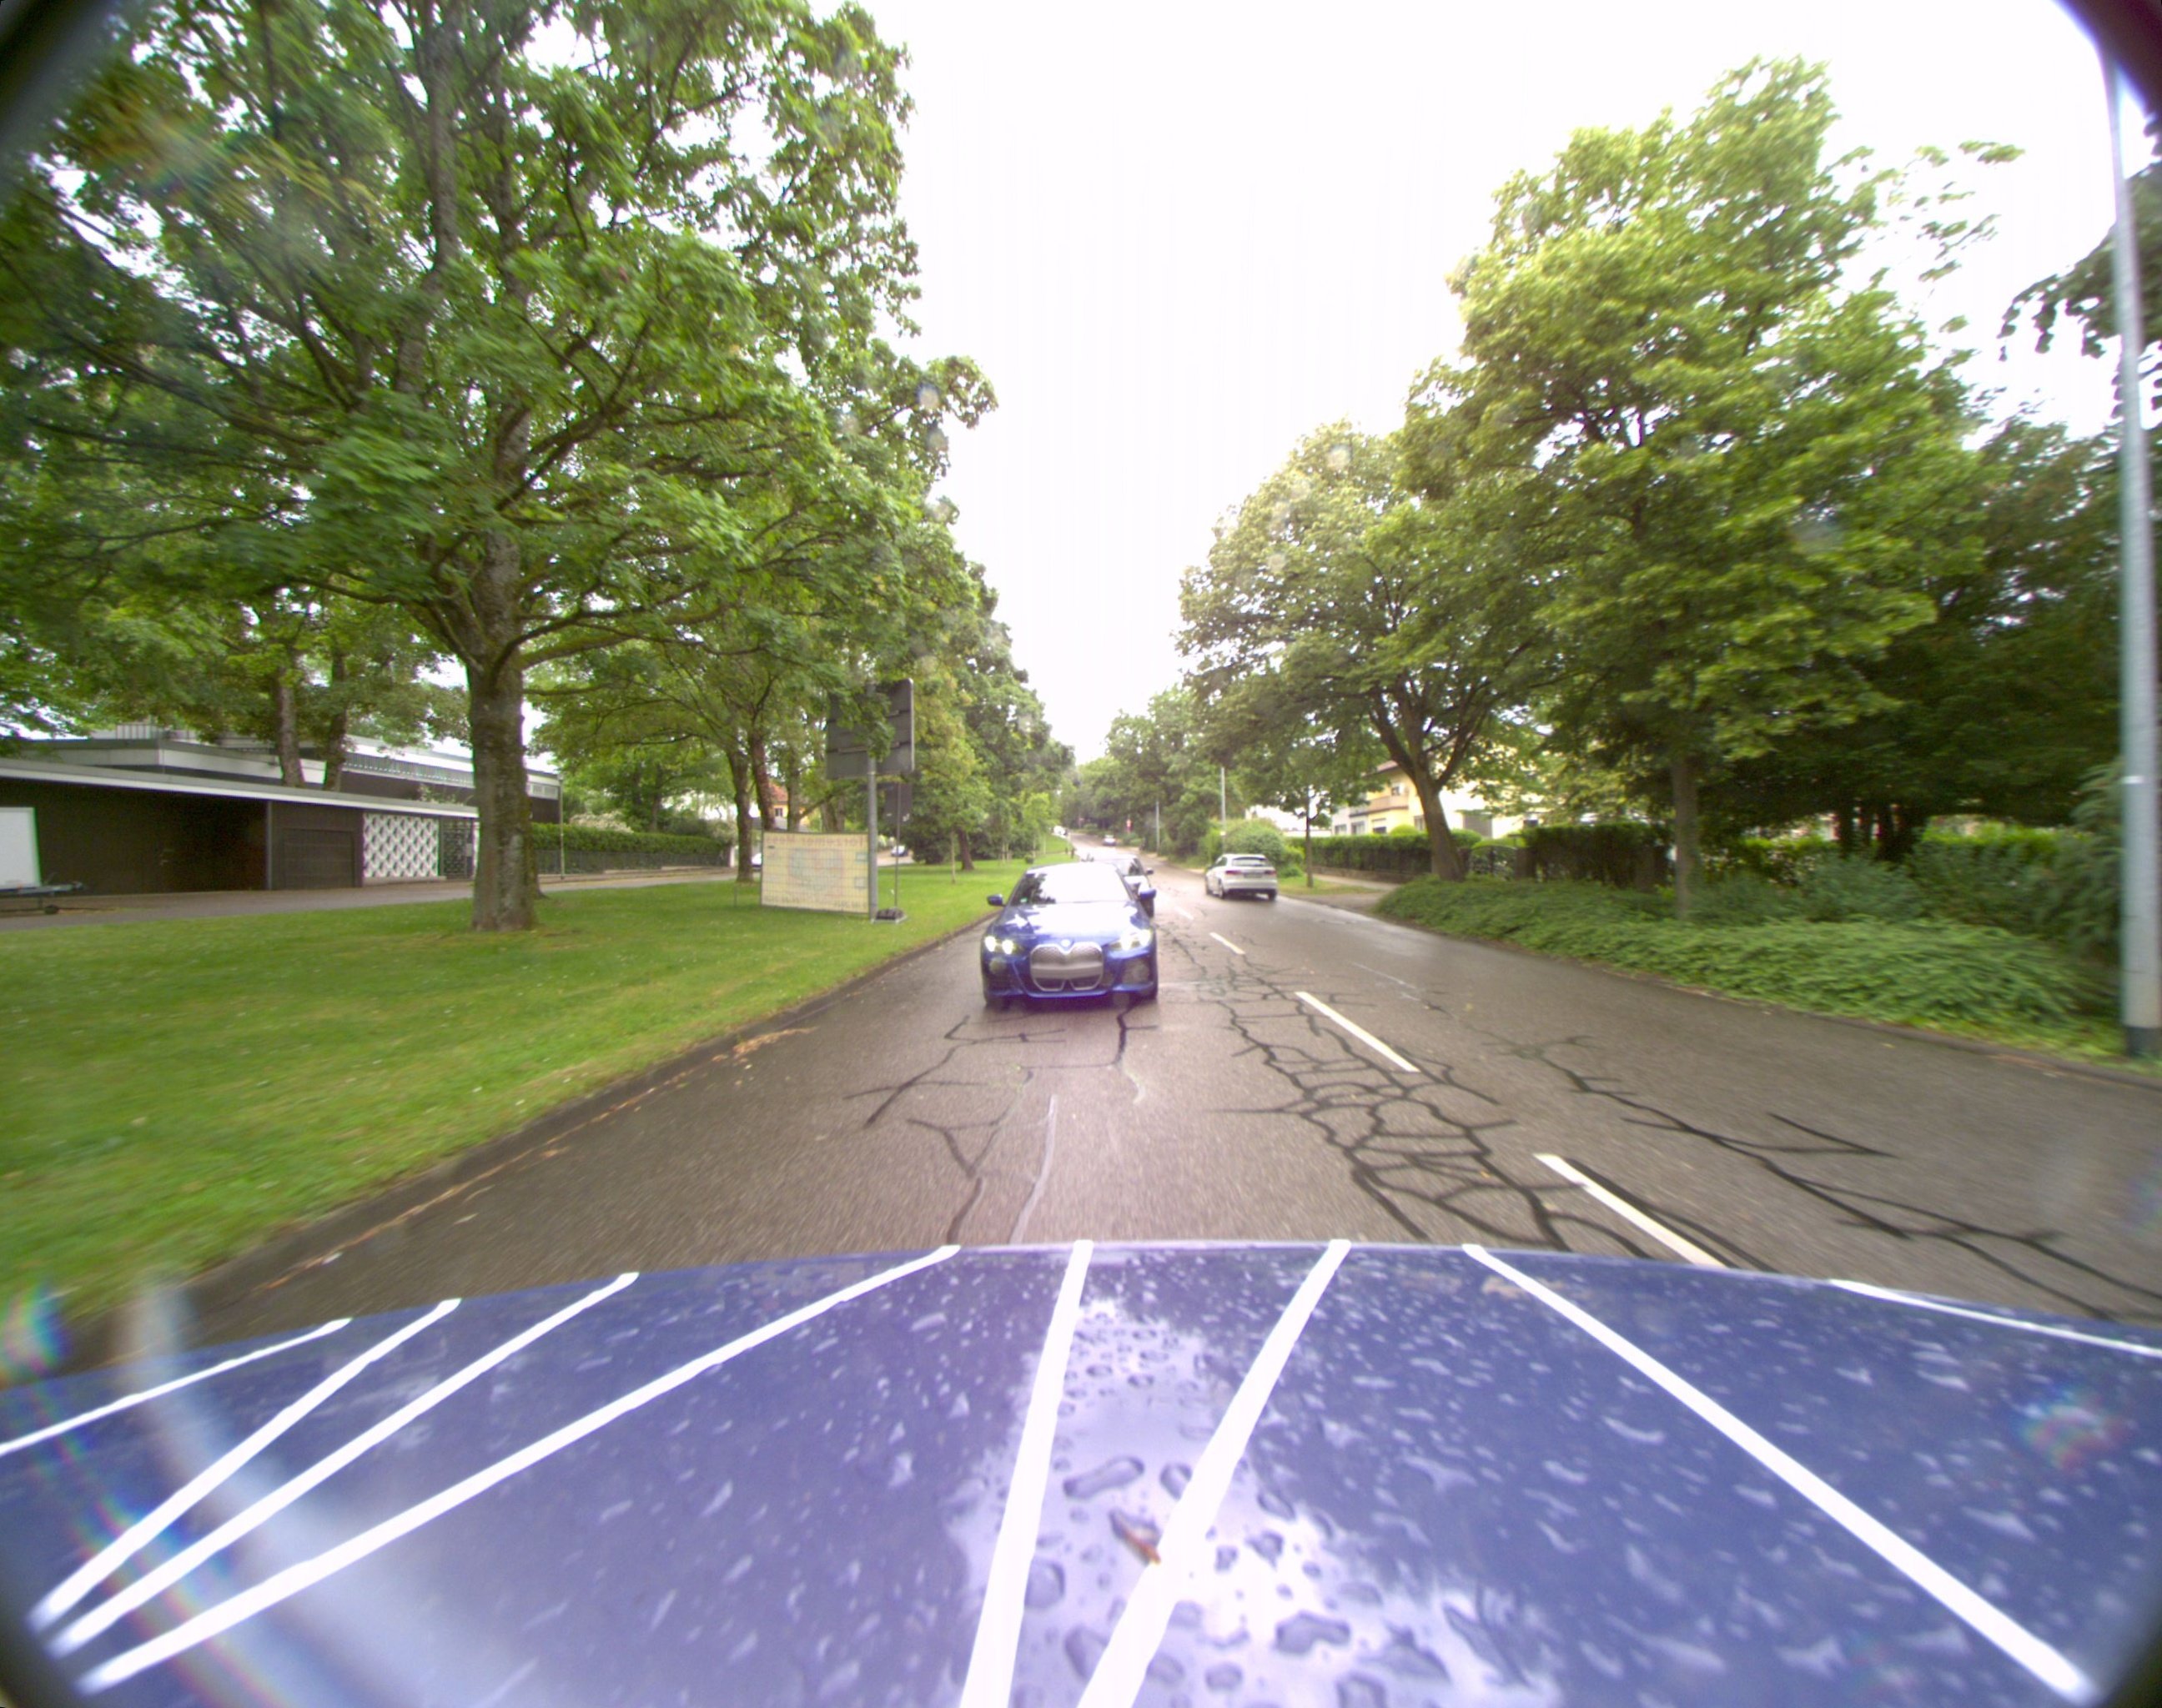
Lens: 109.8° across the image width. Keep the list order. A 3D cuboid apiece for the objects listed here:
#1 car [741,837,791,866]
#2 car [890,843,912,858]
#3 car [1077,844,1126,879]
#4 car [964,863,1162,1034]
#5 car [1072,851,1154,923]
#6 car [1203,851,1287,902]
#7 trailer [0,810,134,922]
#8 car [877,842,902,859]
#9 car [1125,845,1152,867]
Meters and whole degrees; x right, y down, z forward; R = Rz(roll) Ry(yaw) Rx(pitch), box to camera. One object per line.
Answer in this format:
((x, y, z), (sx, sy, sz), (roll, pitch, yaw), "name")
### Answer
((-22.962, -0.200, 55.566), (1.998, 2.002, 4.000), (0, 1, 1), "car")
((-24.533, -0.525, 103.793), (1.998, 2.002, 3.999), (-2, 1, 1), "car")
((0.874, 0.295, 35.255), (2.032, 1.471, 4.066), (-2, 1, -1), "car")
((-0.145, 0.922, 9.242), (1.826, 1.471, 4.067), (-2, 1, 1), "car")
((0.751, 0.747, 19.322), (1.826, 1.471, 4.066), (-2, 2, 1), "car")
((5.247, 0.679, 24.821), (1.826, 1.471, 4.066), (0, 1, 0), "car")
((-21.160, 0.265, 13.638), (1.771, 2.104, 5.191), (-2, 1, -1), "trailer")
((-24.492, -0.455, 97.377), (1.998, 2.002, 3.999), (-2, 1, 1), "car")
((4.455, 0.130, 59.616), (1.826, 1.471, 4.066), (-2, 2, 1), "car")
